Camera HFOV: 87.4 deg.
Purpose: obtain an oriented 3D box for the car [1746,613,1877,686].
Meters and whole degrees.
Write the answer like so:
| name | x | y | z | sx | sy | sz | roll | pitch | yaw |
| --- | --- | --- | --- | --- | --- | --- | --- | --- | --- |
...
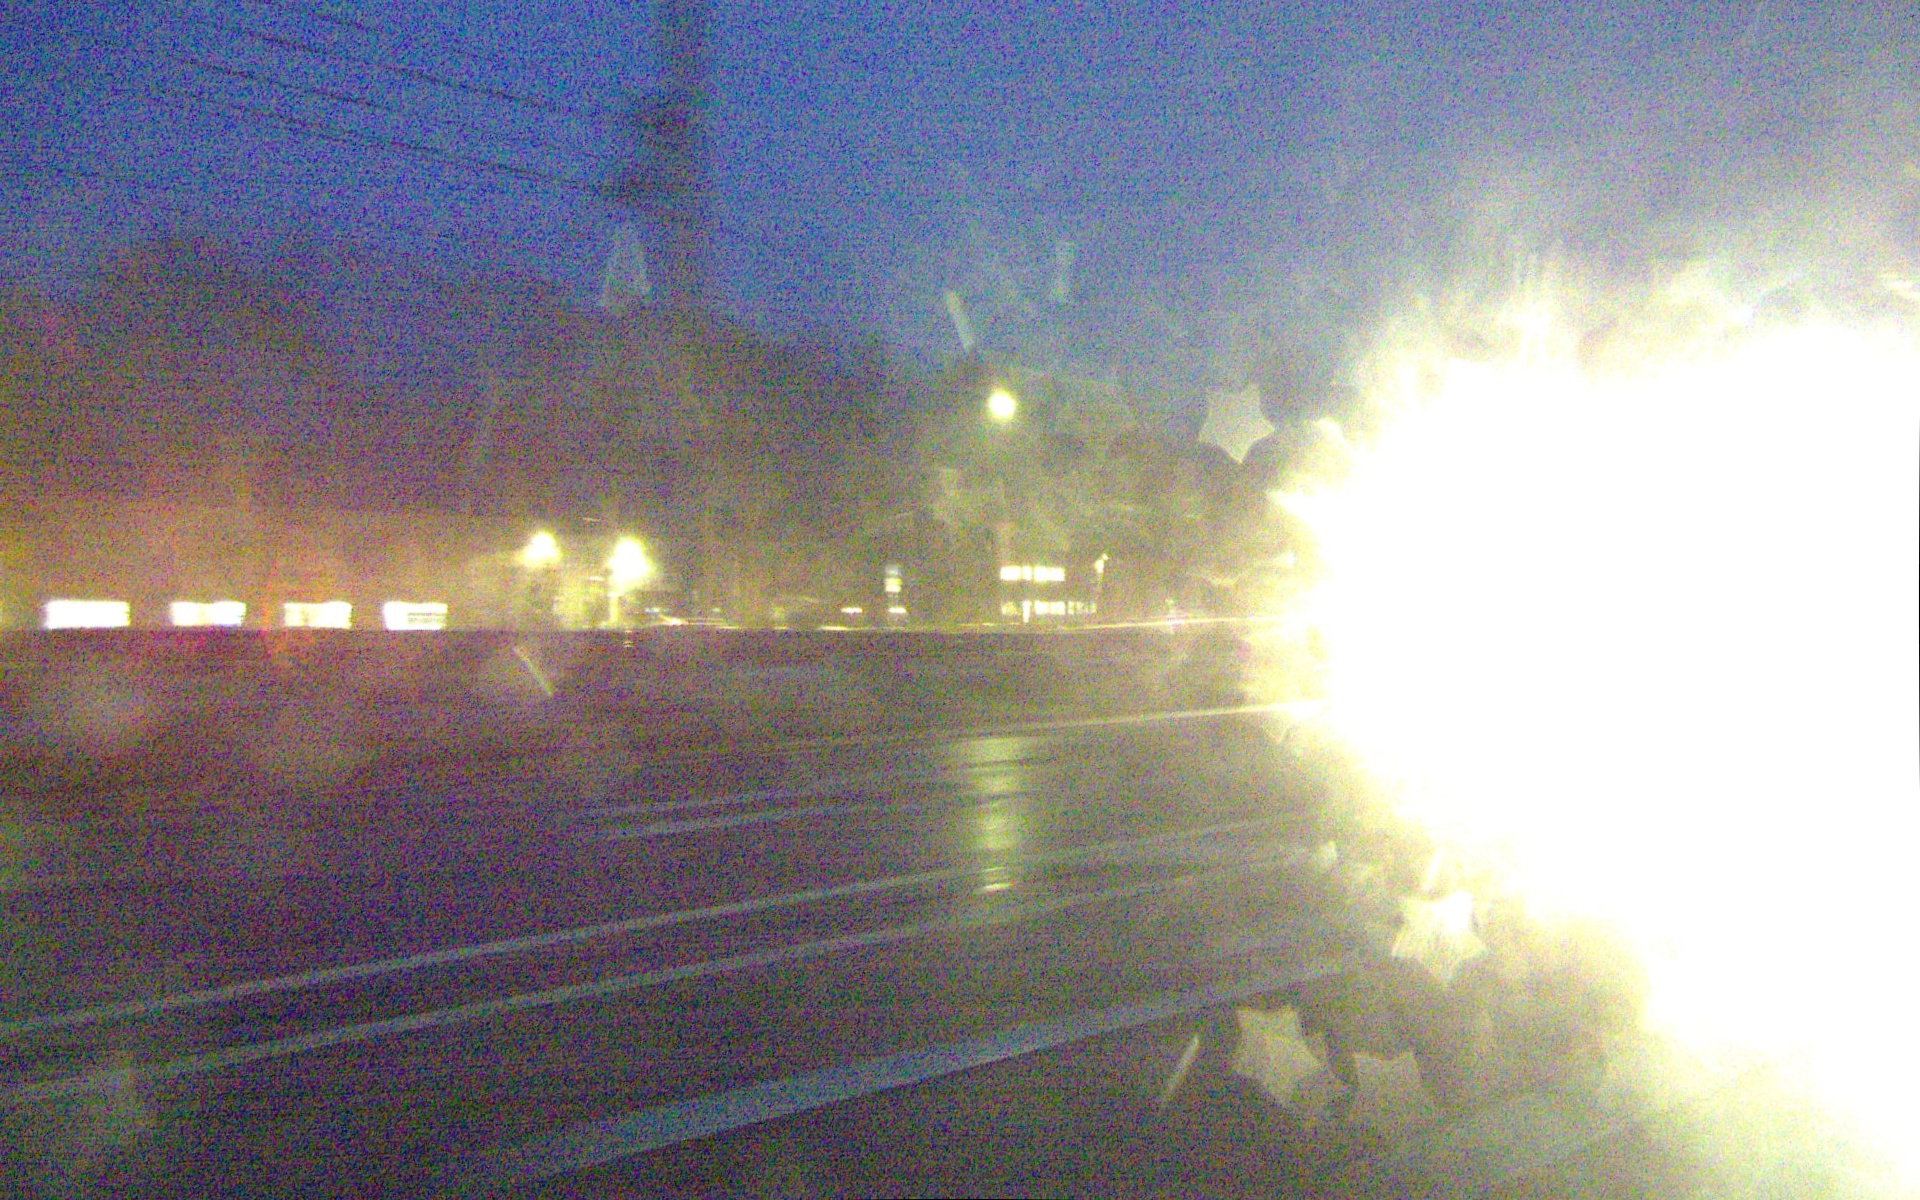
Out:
| name | x | y | z | sx | sy | sz | roll | pitch | yaw |
| --- | --- | --- | --- | --- | --- | --- | --- | --- | --- |
| car | 21.111 | 1.181 | 24.856 | 3.998 | 1.609 | 1.786 | 2 | 1 | -40 |

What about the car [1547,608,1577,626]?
| name | x | y | z | sx | sy | sz | roll | pitch | yaw |
| --- | --- | --- | --- | --- | --- | --- | --- | --- | --- |
| car | 56.220 | 1.566 | 93.773 | 1.702 | 1.539 | 3.979 | 2 | 1 | 42 |

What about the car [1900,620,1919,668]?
| name | x | y | z | sx | sy | sz | roll | pitch | yaw |
| --- | --- | --- | --- | --- | --- | --- | --- | --- | --- |
| car | 35.997 | 1.601 | 36.595 | 4.609 | 1.663 | 1.748 | 1 | 1 | -37 |

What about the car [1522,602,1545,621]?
| name | x | y | z | sx | sy | sz | roll | pitch | yaw |
| --- | --- | --- | --- | --- | --- | --- | --- | --- | --- |
| car | 47.913 | 0.963 | 83.901 | 1.489 | 1.538 | 4.364 | 3 | 1 | 31 |
